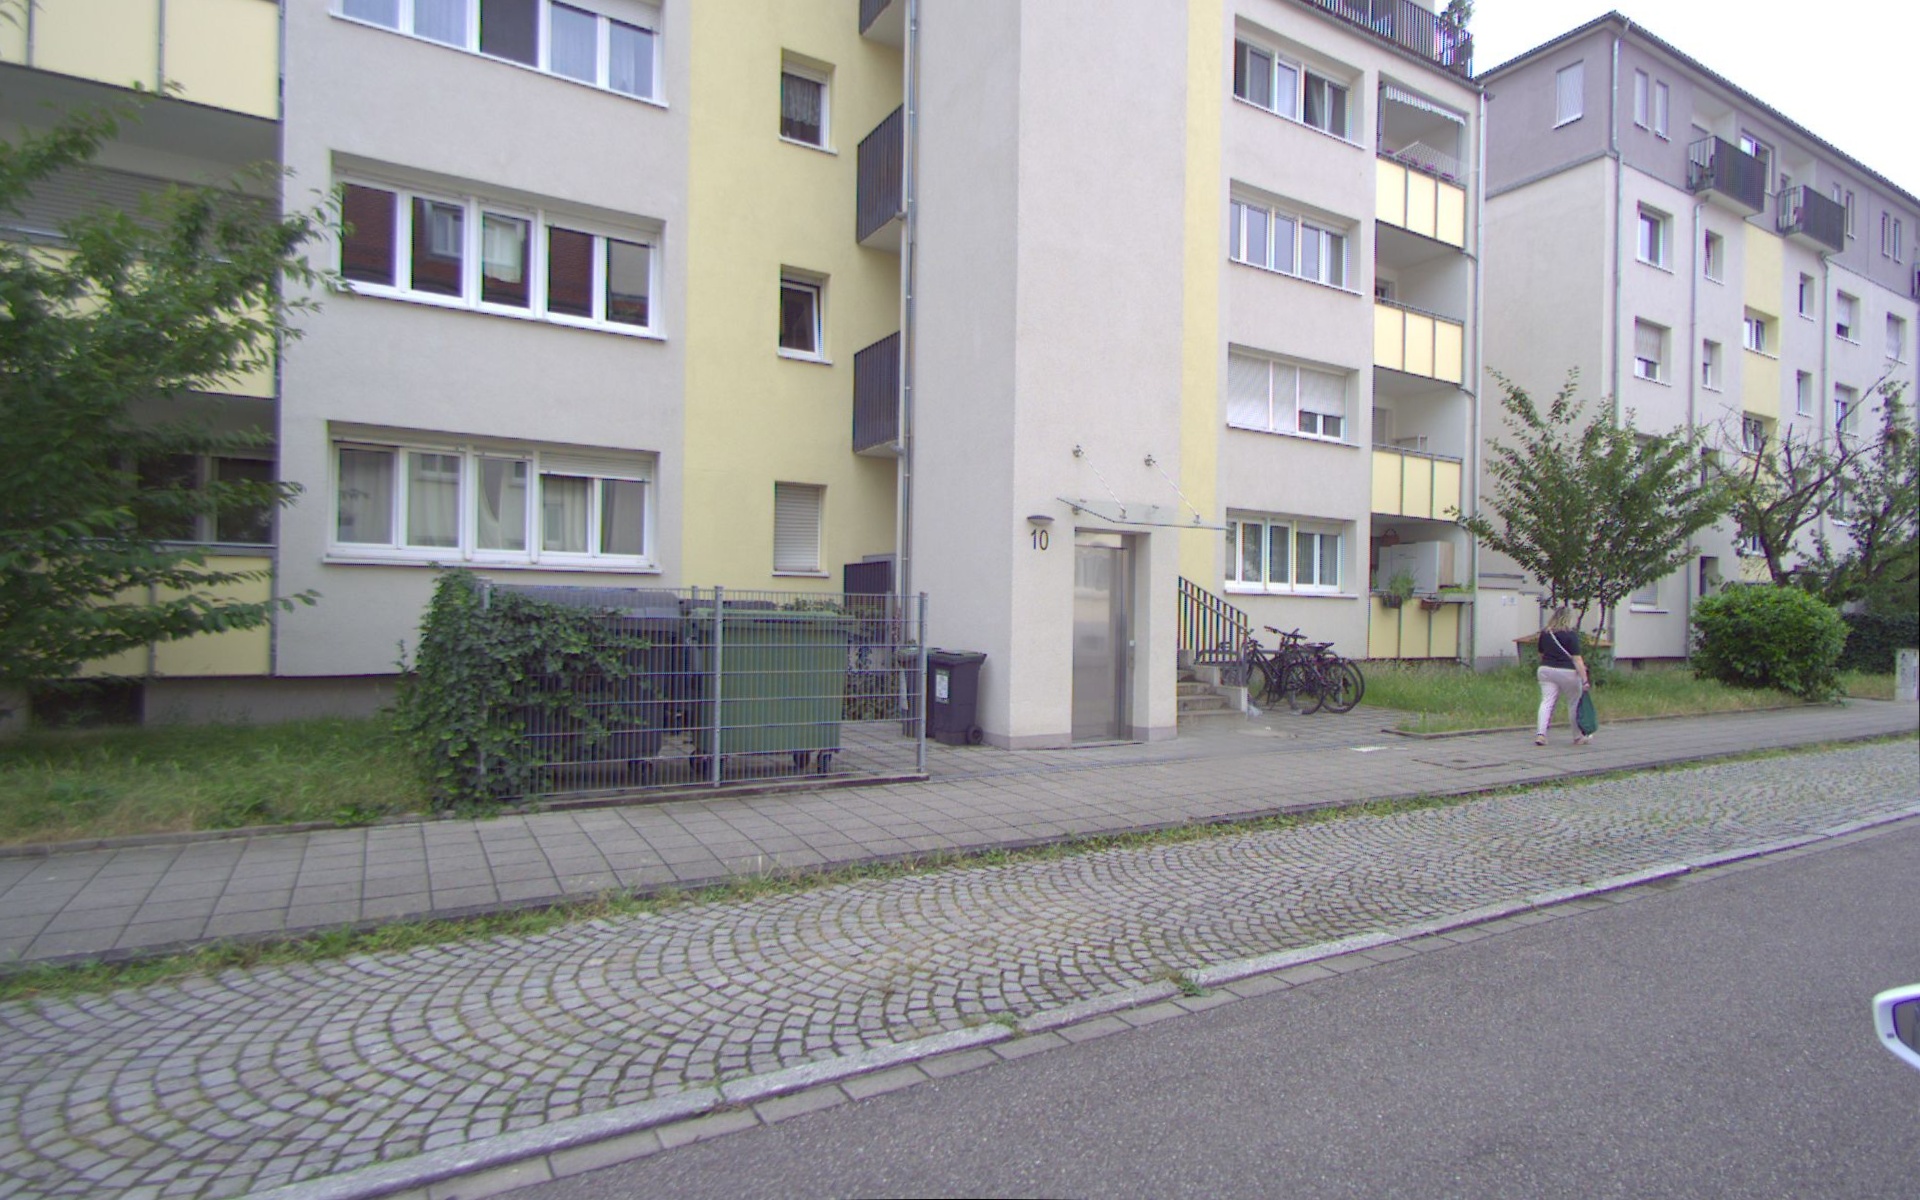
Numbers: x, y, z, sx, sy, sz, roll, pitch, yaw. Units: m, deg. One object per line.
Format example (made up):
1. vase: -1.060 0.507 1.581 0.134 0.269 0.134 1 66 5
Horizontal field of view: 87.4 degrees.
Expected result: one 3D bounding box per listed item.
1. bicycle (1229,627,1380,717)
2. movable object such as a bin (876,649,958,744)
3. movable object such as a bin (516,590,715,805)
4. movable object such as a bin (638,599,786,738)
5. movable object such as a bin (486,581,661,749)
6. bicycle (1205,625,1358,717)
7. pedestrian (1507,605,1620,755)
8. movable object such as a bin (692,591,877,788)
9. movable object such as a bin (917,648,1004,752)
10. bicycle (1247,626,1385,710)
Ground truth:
1. bicycle: 4.884 0.984 14.366 0.618 1.157 2.006 1 -1 -40
2. movable object such as a bin: -0.466 1.006 10.702 0.644 0.934 0.633 1 0 -30
3. movable object such as a bin: -2.556 0.670 7.430 1.272 1.448 0.800 1 0 -28
4. movable object such as a bin: -2.620 0.682 10.584 1.273 1.358 0.974 1 0 -30
5. movable object such as a bin: -3.803 0.579 9.829 1.357 1.484 1.345 1 0 -32
6. bicycle: 4.418 0.942 13.941 0.618 1.157 2.006 1 -1 -39
7. pedestrian: 6.946 0.885 11.568 0.937 1.631 0.794 1 0 -35
8. movable object such as a bin: -1.416 0.672 8.068 1.271 1.448 0.800 1 0 -27
9. movable object such as a bin: 0.001 0.996 10.226 0.644 0.978 0.633 1 0 -30
10. bicycle: 5.363 0.991 15.268 0.616 1.157 2.011 1 -1 -33
